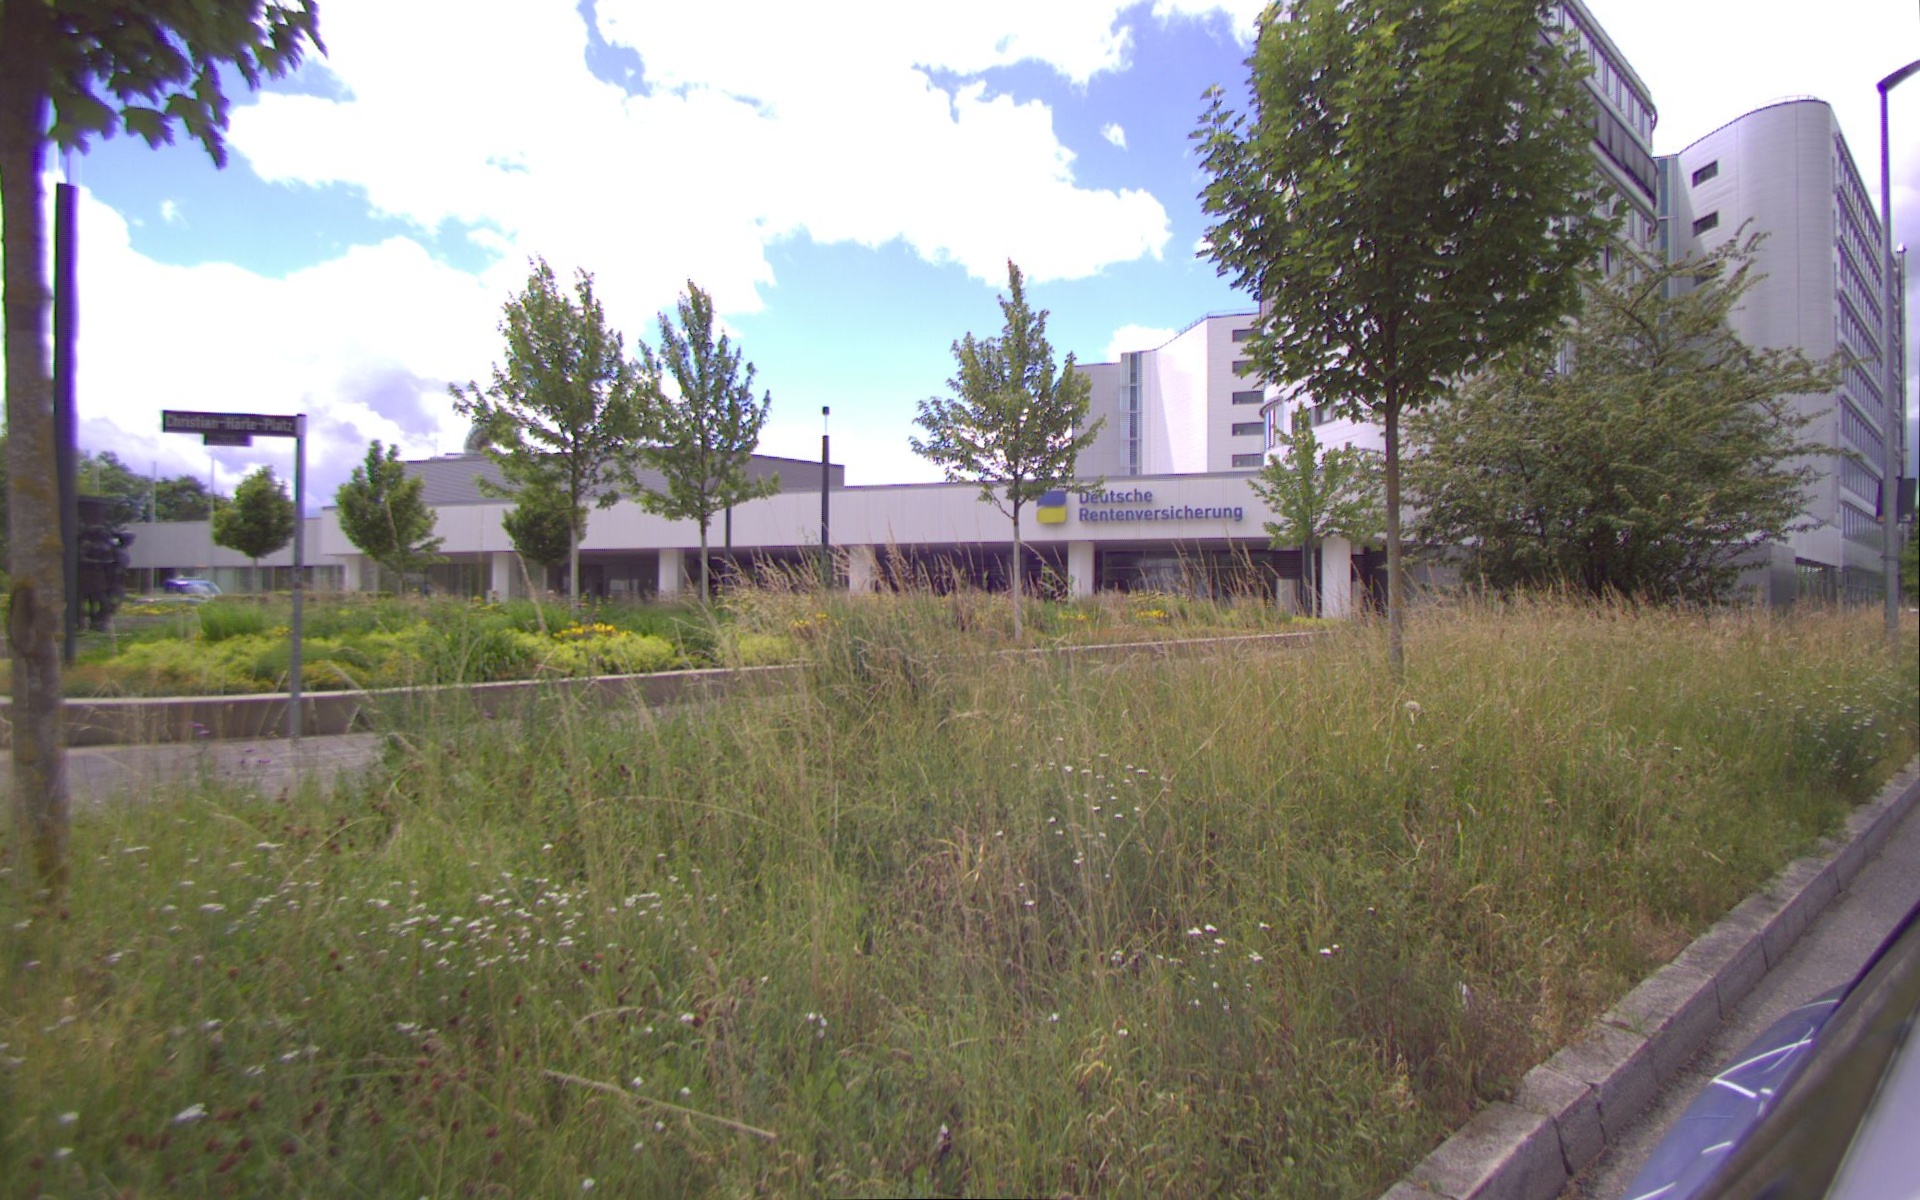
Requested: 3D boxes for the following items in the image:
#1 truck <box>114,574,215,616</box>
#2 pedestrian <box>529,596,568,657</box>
[{"bbox_3d":[-39.692,-0.276,50.514,3.941,2.039,1.991,1,0,14],"label":"truck"},{"bbox_3d":[-11.309,0.720,27.808,0.757,1.646,0.764,0,0,0],"label":"pedestrian"}]
